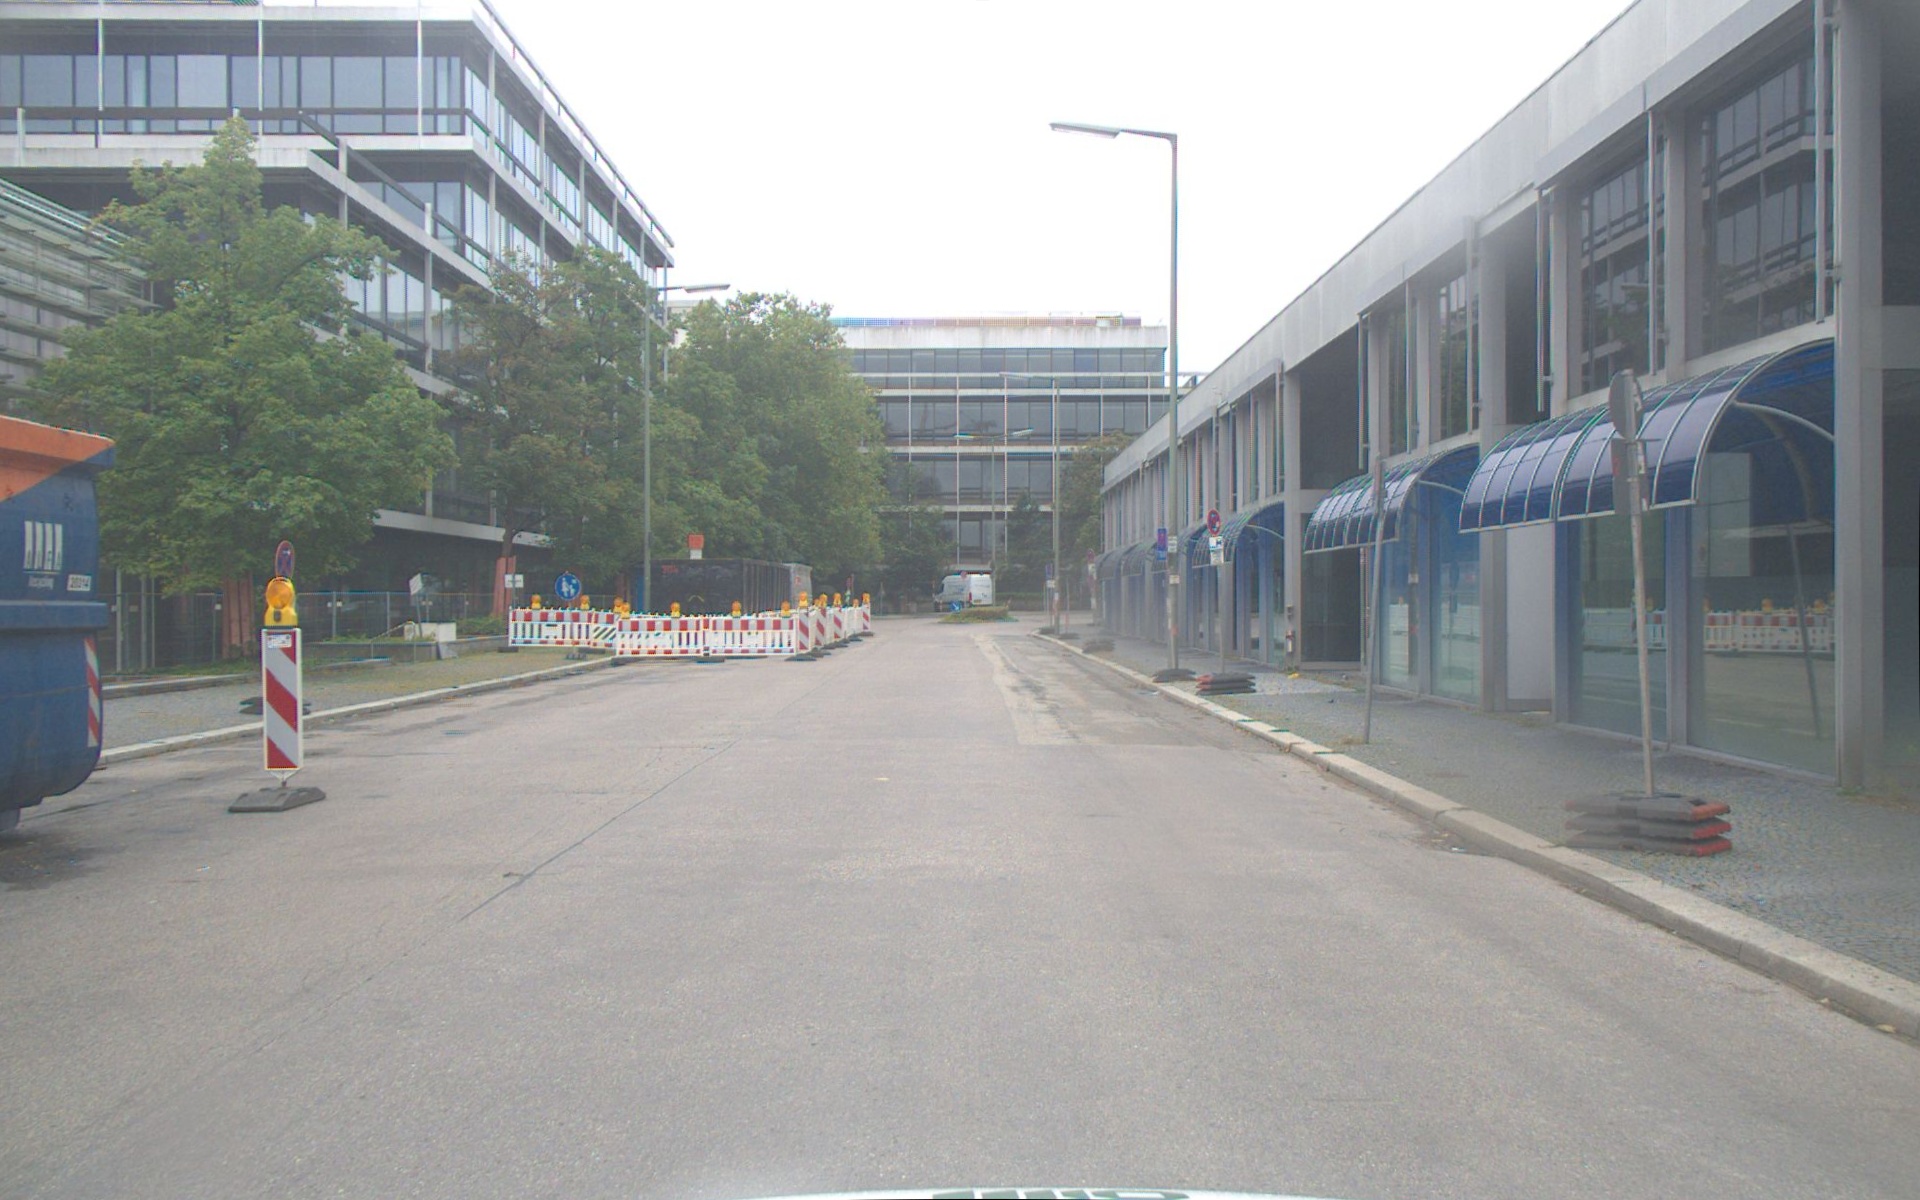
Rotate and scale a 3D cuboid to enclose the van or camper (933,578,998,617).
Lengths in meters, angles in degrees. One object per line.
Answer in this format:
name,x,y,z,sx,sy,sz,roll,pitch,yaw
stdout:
van or camper,0.339,-0.143,118.901,2.129,2.626,6.485,0,-2,-25
